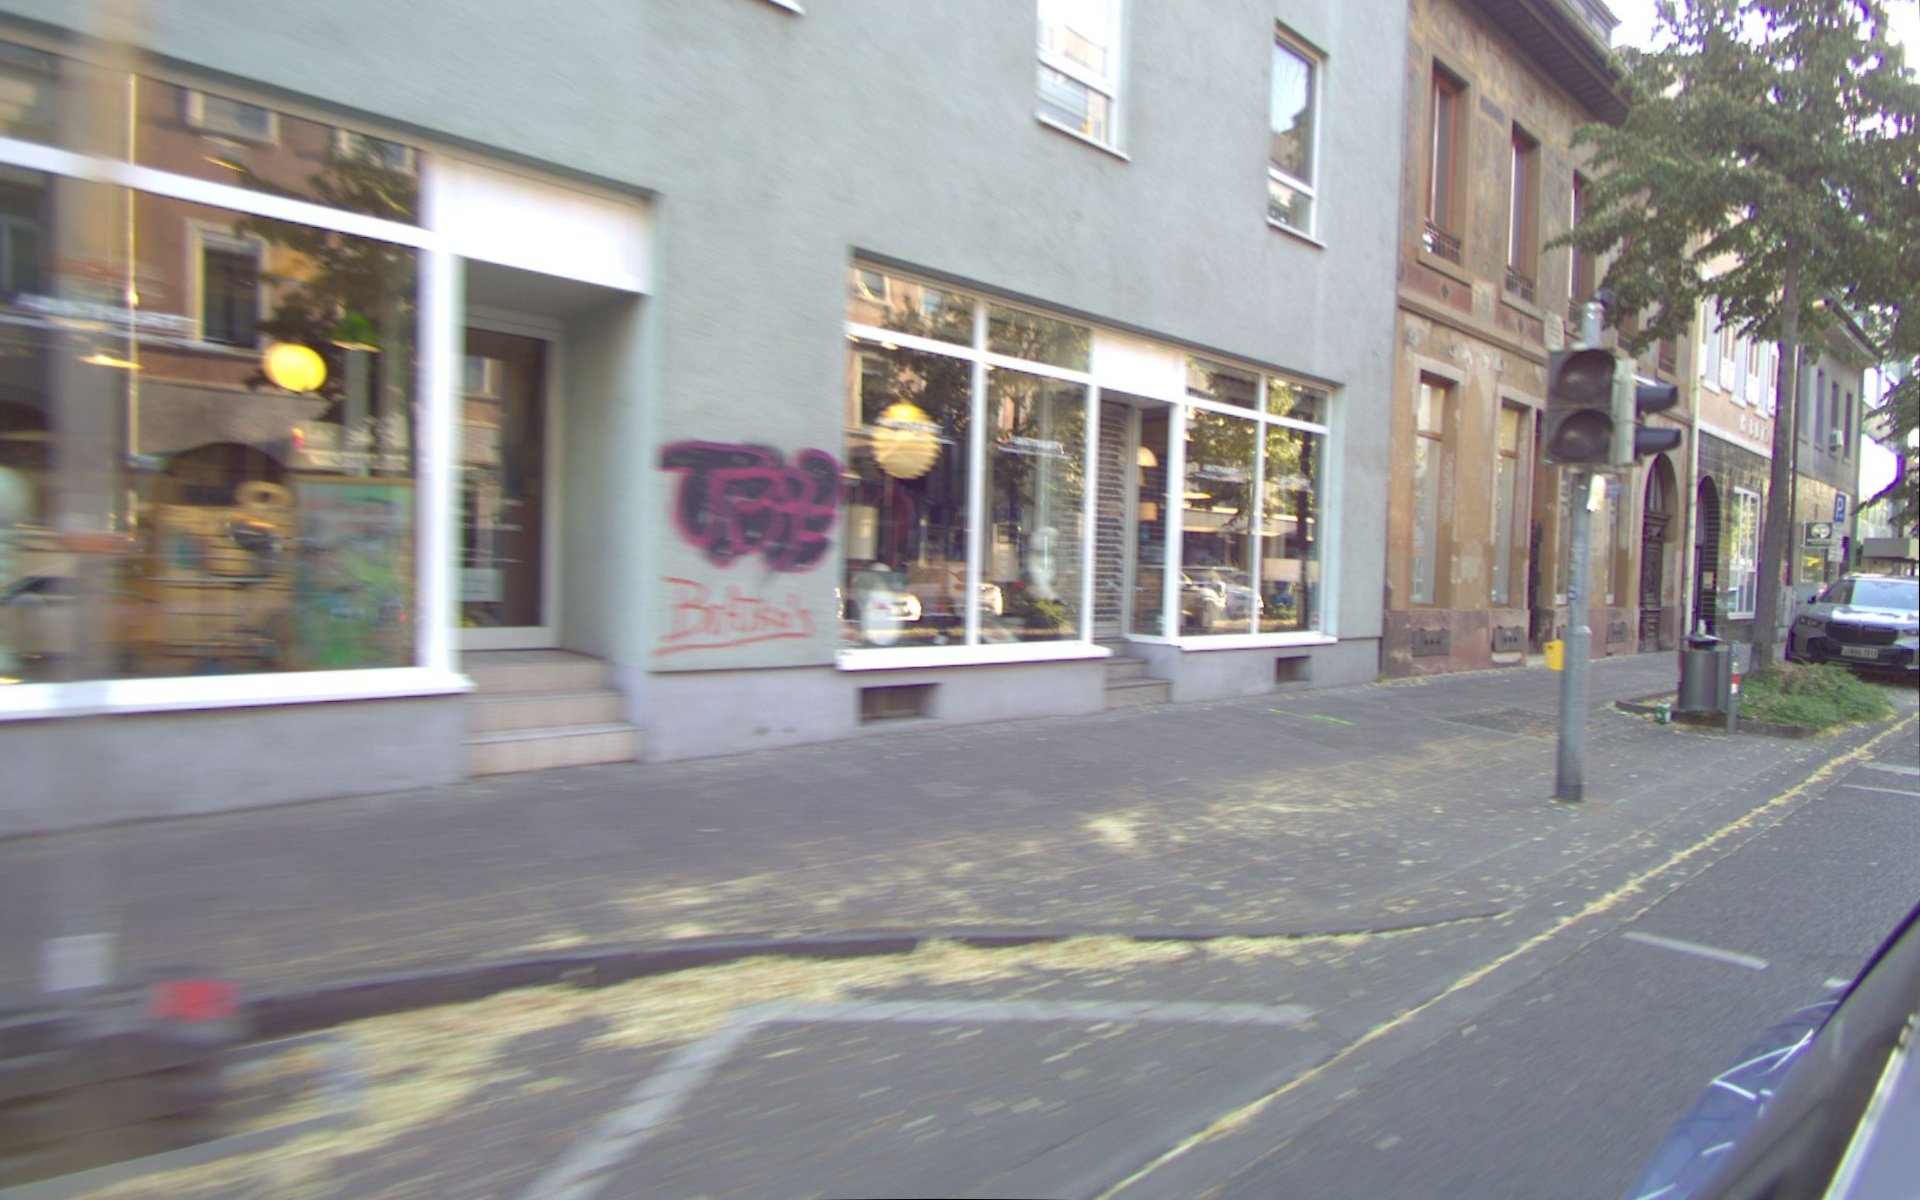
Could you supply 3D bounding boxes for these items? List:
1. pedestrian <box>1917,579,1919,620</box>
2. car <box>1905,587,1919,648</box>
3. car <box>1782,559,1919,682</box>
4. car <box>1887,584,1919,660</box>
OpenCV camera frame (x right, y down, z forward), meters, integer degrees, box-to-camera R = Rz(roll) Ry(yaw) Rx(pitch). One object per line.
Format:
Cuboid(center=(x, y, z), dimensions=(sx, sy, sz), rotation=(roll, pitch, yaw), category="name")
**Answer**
Cuboid(center=(42.029, -0.015, 43.934), dimensions=(0.657, 1.760, 0.607), rotation=(0, 1, -41), category="pedestrian")
Cuboid(center=(24.589, 0.463, 24.648), dimensions=(4.350, 1.407, 1.955), rotation=(0, 4, -43), category="car")
Cuboid(center=(15.840, 0.301, 17.124), dimensions=(4.627, 1.758, 2.044), rotation=(0, 4, -40), category="car")
Cuboid(center=(21.099, 0.486, 21.483), dimensions=(3.835, 1.505, 1.732), rotation=(0, 4, -43), category="car")
